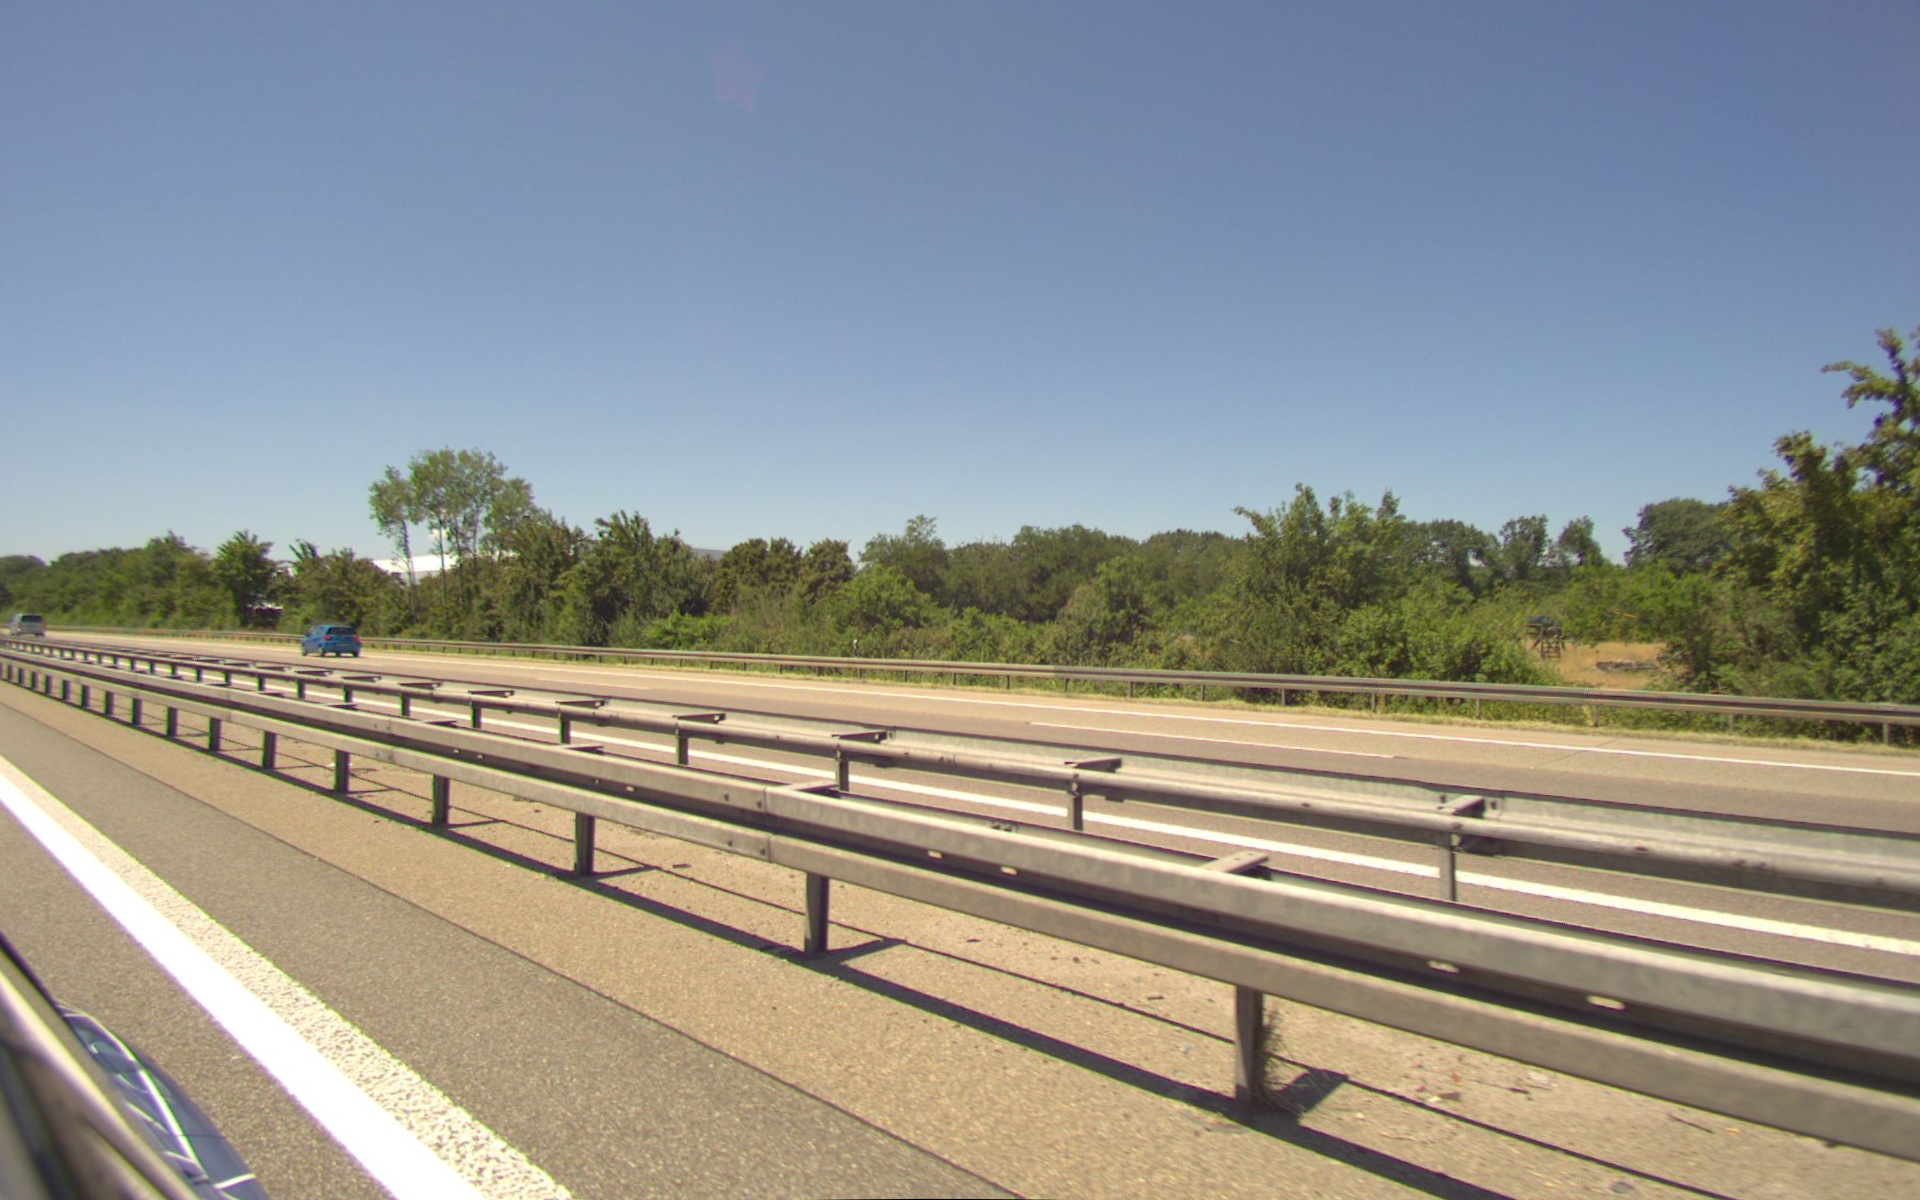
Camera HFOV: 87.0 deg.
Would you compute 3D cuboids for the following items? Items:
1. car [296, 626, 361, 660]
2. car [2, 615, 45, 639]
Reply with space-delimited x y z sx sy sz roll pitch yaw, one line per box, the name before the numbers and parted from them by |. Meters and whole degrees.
car | -29.066 1.960 46.551 3.470 1.435 1.548 0 -3 41
car | -79.412 2.329 85.773 5.224 1.939 2.020 -1 -4 41
